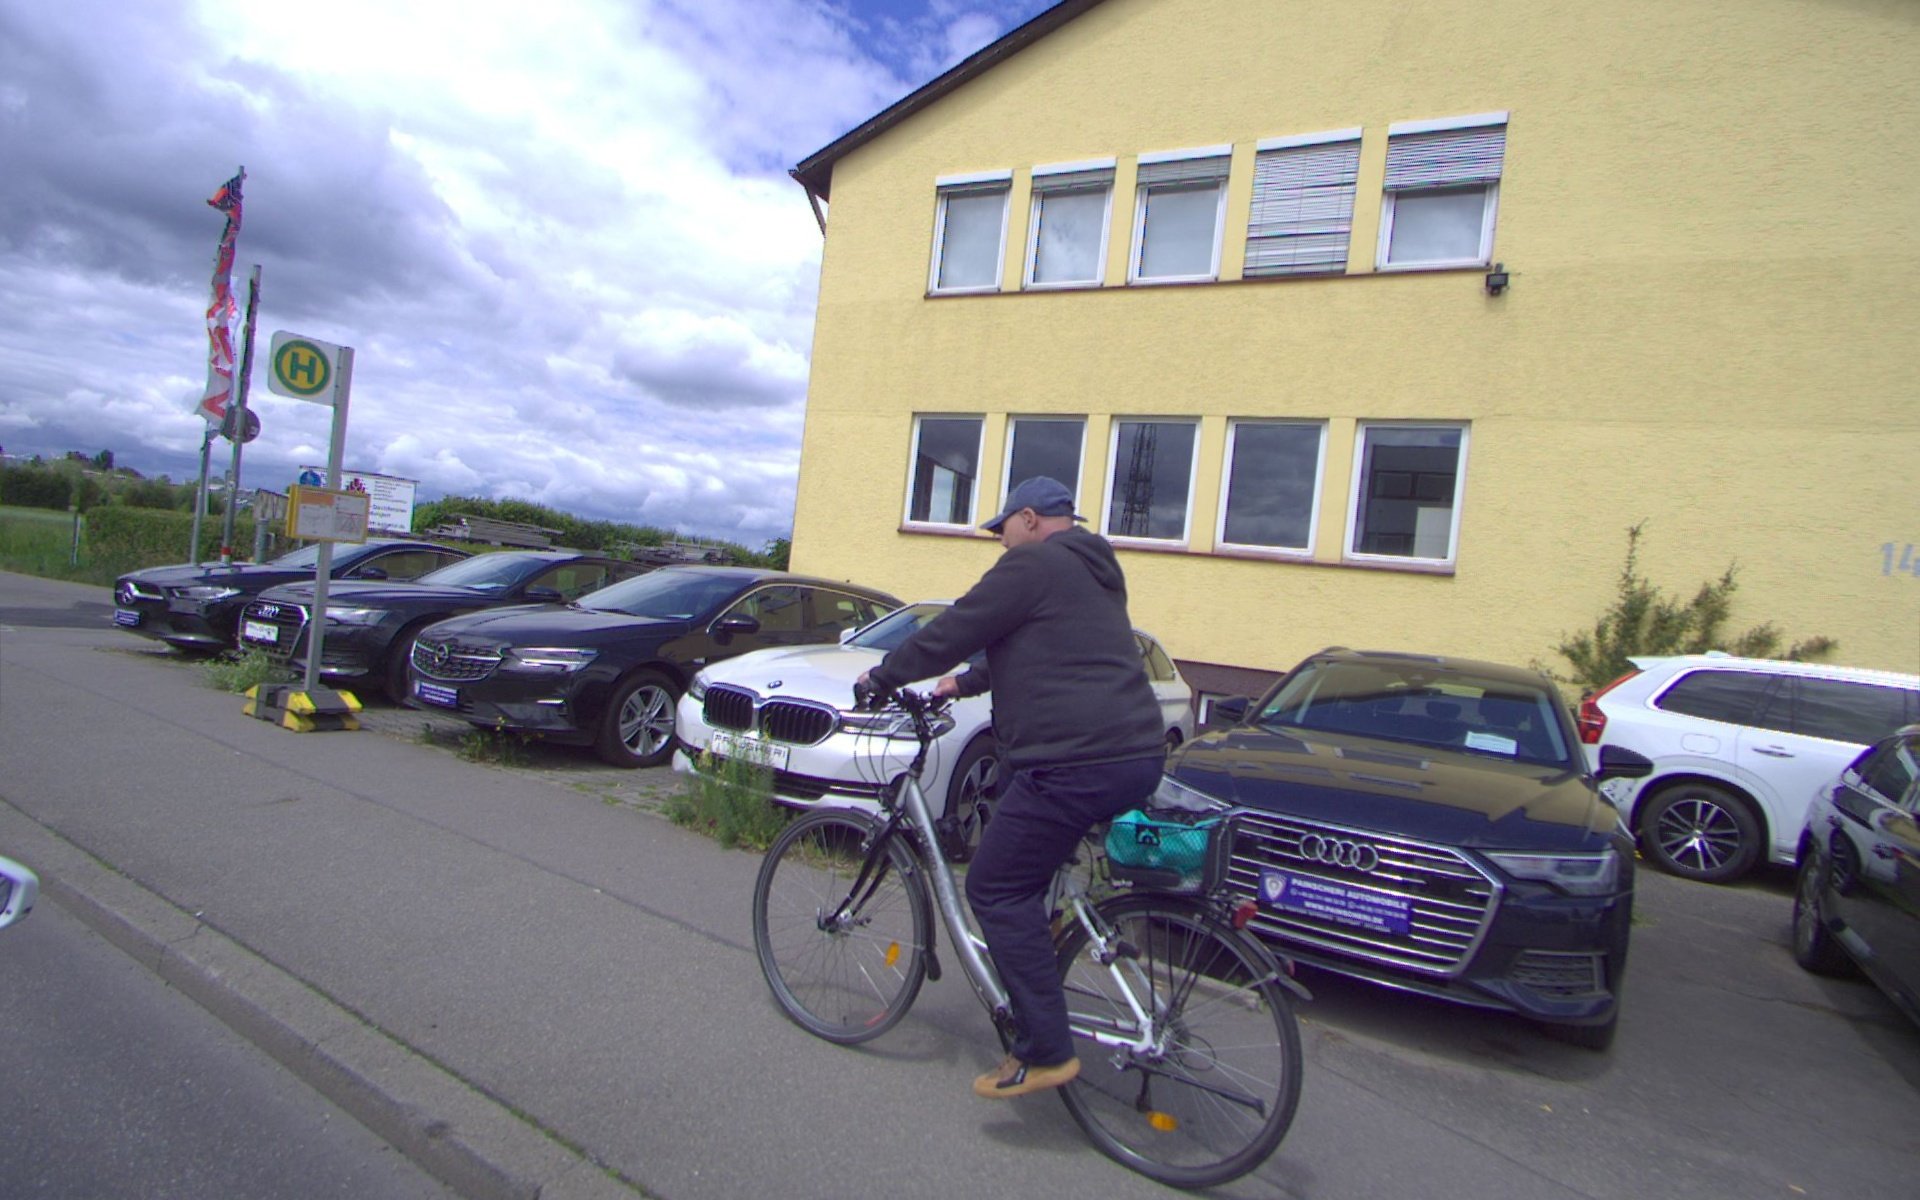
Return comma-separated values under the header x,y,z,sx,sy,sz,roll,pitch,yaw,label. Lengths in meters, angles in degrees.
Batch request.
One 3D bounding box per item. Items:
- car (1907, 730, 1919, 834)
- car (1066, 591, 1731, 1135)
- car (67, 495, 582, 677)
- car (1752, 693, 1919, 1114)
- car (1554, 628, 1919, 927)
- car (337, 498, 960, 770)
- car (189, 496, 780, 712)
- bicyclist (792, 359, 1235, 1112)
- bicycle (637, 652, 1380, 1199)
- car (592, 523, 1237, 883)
x,y,z,sx,sy,sz,roll,pitch,yaw,label
12.352,2.131,11.004,1.827,1.599,4.136,7,-2,30,car
2.402,0.984,5.370,1.955,1.420,4.380,7,-2,29,car
-6.677,-0.029,11.147,1.970,1.414,4.333,5,-3,29,car
4.915,1.268,4.015,2.001,1.511,4.667,7,-1,31,car
7.437,1.389,7.331,4.961,1.844,1.973,5,0,41,car
-2.140,0.386,8.373,1.982,1.510,4.685,7,-2,32,car
-4.228,0.206,9.909,2.004,1.446,4.862,7,-3,31,car
0.143,0.283,2.740,0.875,1.699,0.637,7,4,31,bicyclist
0.034,0.811,2.823,1.944,1.078,0.637,7,4,32,bicycle
0.162,0.666,7.031,1.998,1.497,4.809,7,-2,32,car
